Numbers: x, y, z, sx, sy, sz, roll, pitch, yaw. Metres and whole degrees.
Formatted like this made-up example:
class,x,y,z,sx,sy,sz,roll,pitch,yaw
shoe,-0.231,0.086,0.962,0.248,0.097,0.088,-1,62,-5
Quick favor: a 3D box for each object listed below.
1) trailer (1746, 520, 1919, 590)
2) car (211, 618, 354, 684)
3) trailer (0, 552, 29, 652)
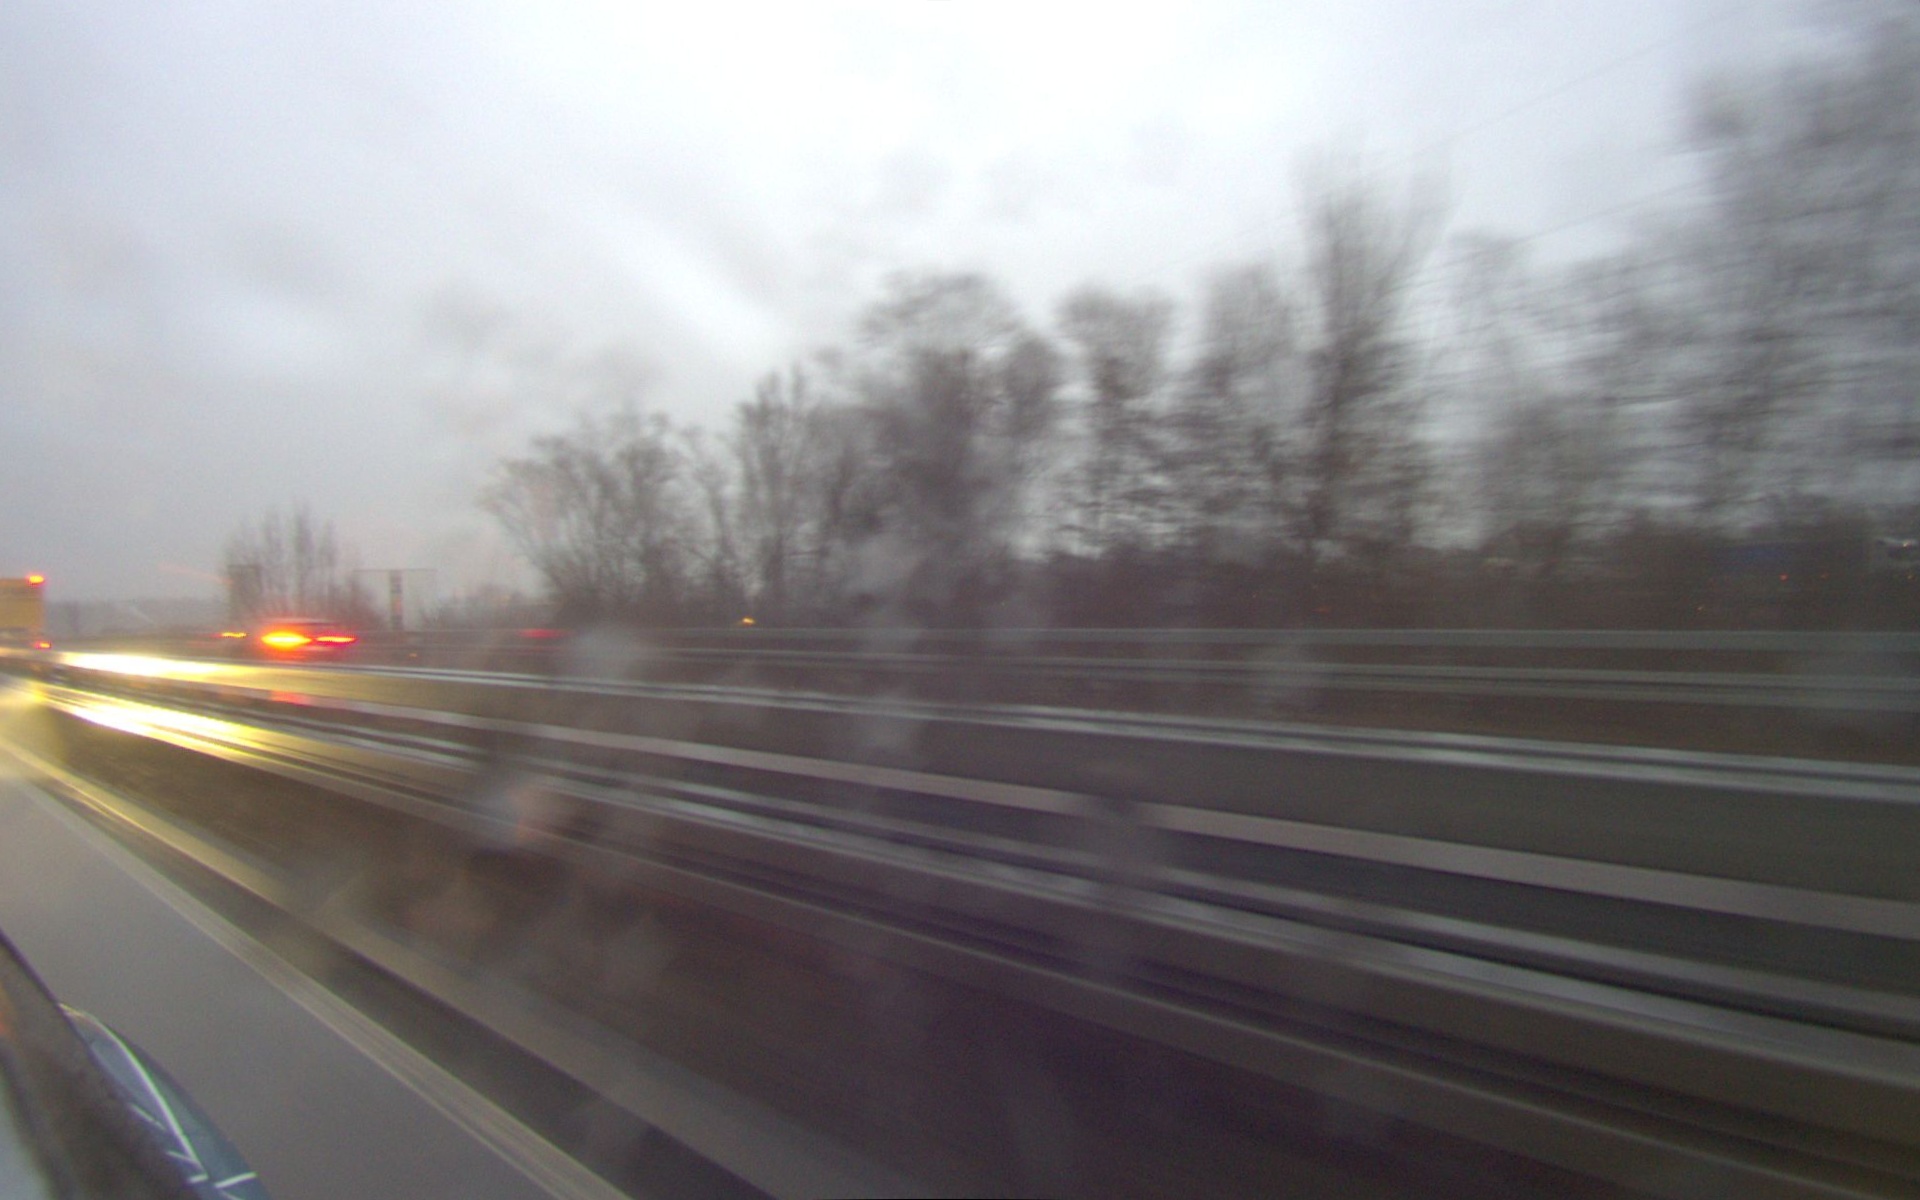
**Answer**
class,x,y,z,sx,sy,sz,roll,pitch,yaw
trailer,70.414,-3.551,79.992,3.255,5.141,13.275,-2,3,-22
car,-18.618,1.407,27.747,4.474,1.605,2.073,-4,-2,39
trailer,-49.274,0.193,50.660,13.319,4.619,2.600,-1,0,42
